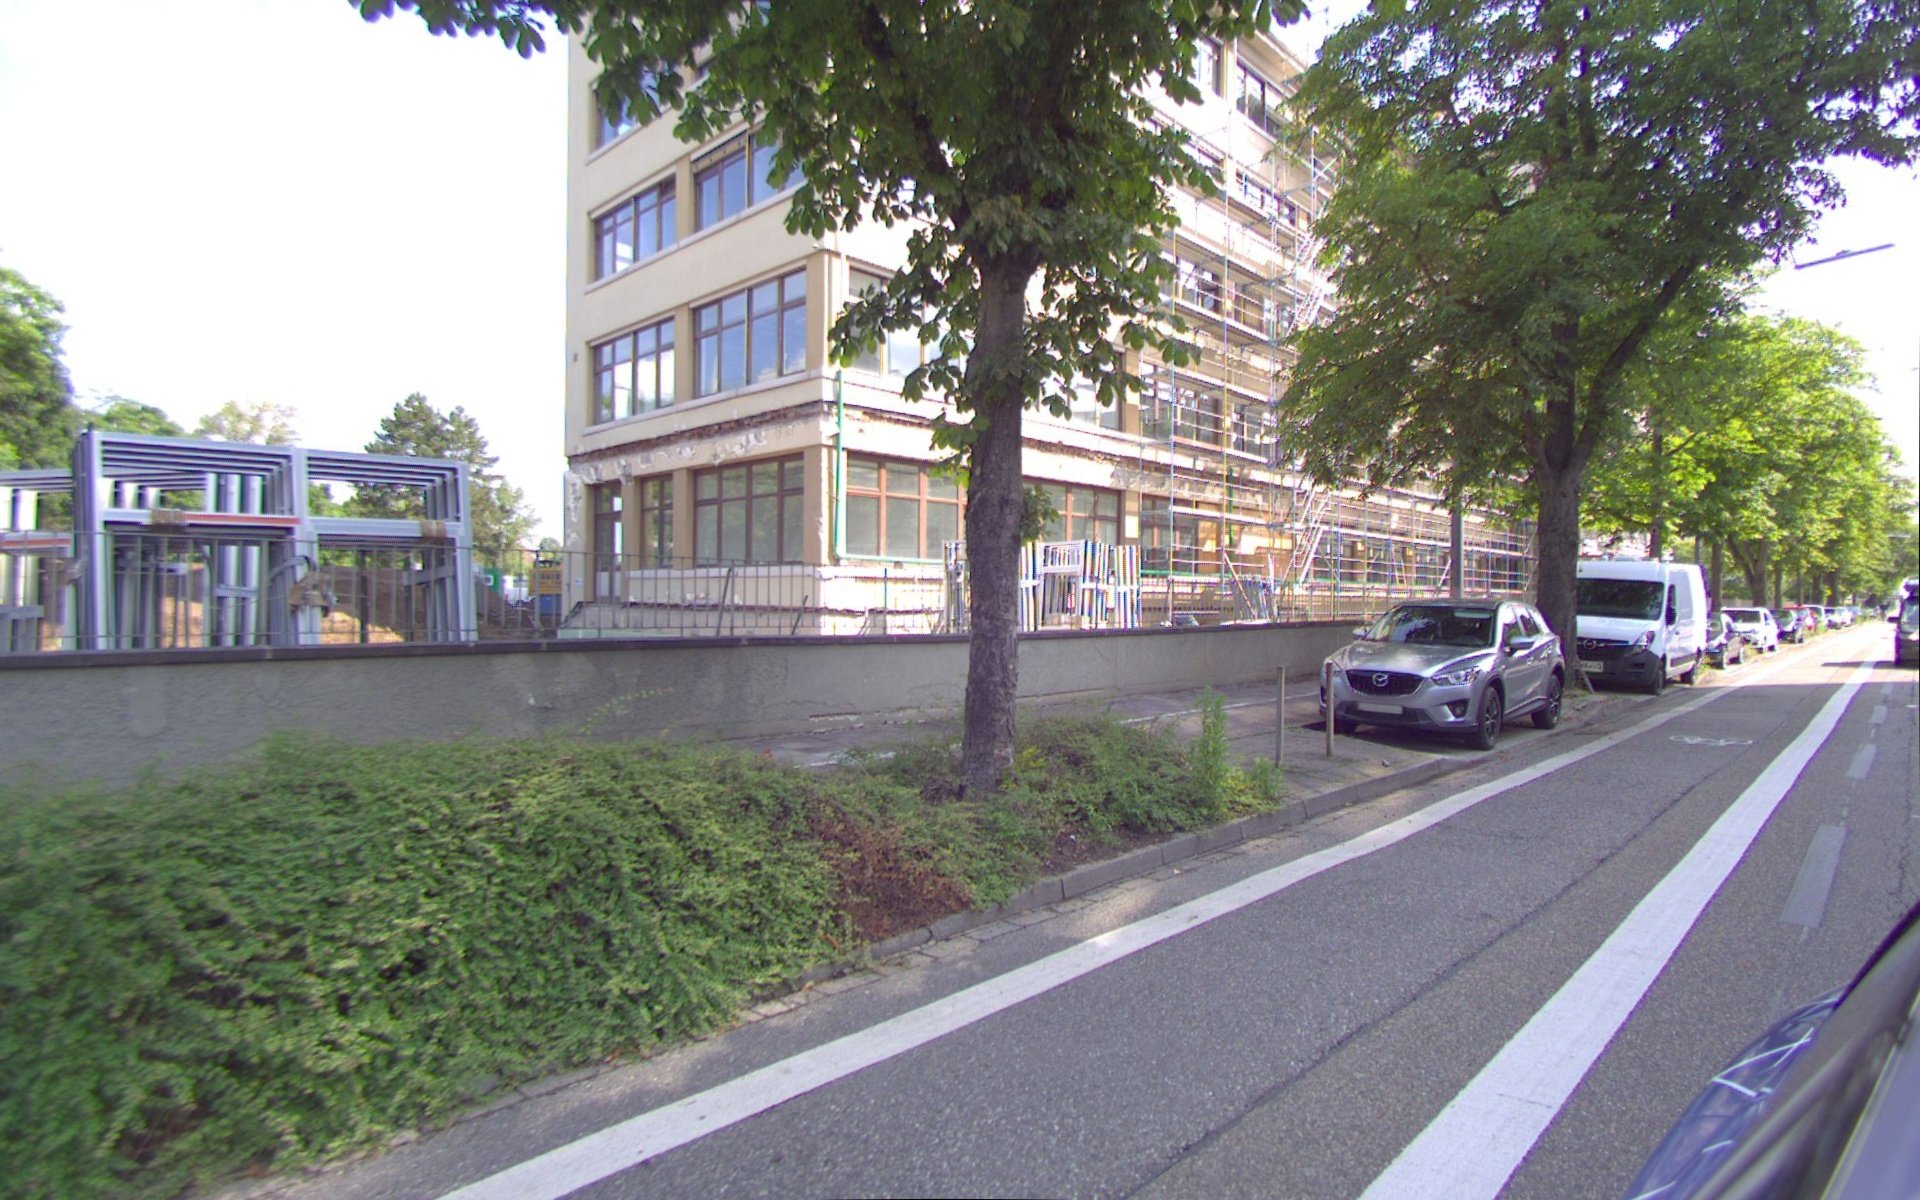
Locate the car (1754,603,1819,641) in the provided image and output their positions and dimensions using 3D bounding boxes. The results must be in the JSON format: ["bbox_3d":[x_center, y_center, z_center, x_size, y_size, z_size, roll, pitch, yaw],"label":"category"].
[{"bbox_3d":[33.395,0.857,40.867,1.732,1.416,3.573,0,1,44],"label":"car"}]

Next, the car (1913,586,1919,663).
[{"bbox_3d":[24.873,0.608,24.957,1.940,1.797,4.761,0,-1,43],"label":"car"}]

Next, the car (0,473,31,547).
[{"bbox_3d":[-43.308,-3.878,41.936,6.840,3.085,2.001,1,2,-34],"label":"car"}]

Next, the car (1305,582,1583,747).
[{"bbox_3d":[6.088,0.678,12.456,1.766,1.627,4.387,3,1,44],"label":"car"}]

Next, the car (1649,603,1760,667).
[{"bbox_3d":[19.836,0.865,26.889,1.736,1.388,4.436,6,4,44],"label":"car"}]

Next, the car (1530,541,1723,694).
[{"bbox_3d":[13.418,0.247,20.176,2.124,2.599,5.825,4,3,44],"label":"car"}]

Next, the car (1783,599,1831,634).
[{"bbox_3d":[40.731,0.759,48.654,1.528,1.594,3.589,0,0,44],"label":"car"}]

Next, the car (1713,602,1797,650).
[{"bbox_3d":[26.457,0.815,33.648,3.828,1.475,1.567,0,0,-42],"label":"car"}]
